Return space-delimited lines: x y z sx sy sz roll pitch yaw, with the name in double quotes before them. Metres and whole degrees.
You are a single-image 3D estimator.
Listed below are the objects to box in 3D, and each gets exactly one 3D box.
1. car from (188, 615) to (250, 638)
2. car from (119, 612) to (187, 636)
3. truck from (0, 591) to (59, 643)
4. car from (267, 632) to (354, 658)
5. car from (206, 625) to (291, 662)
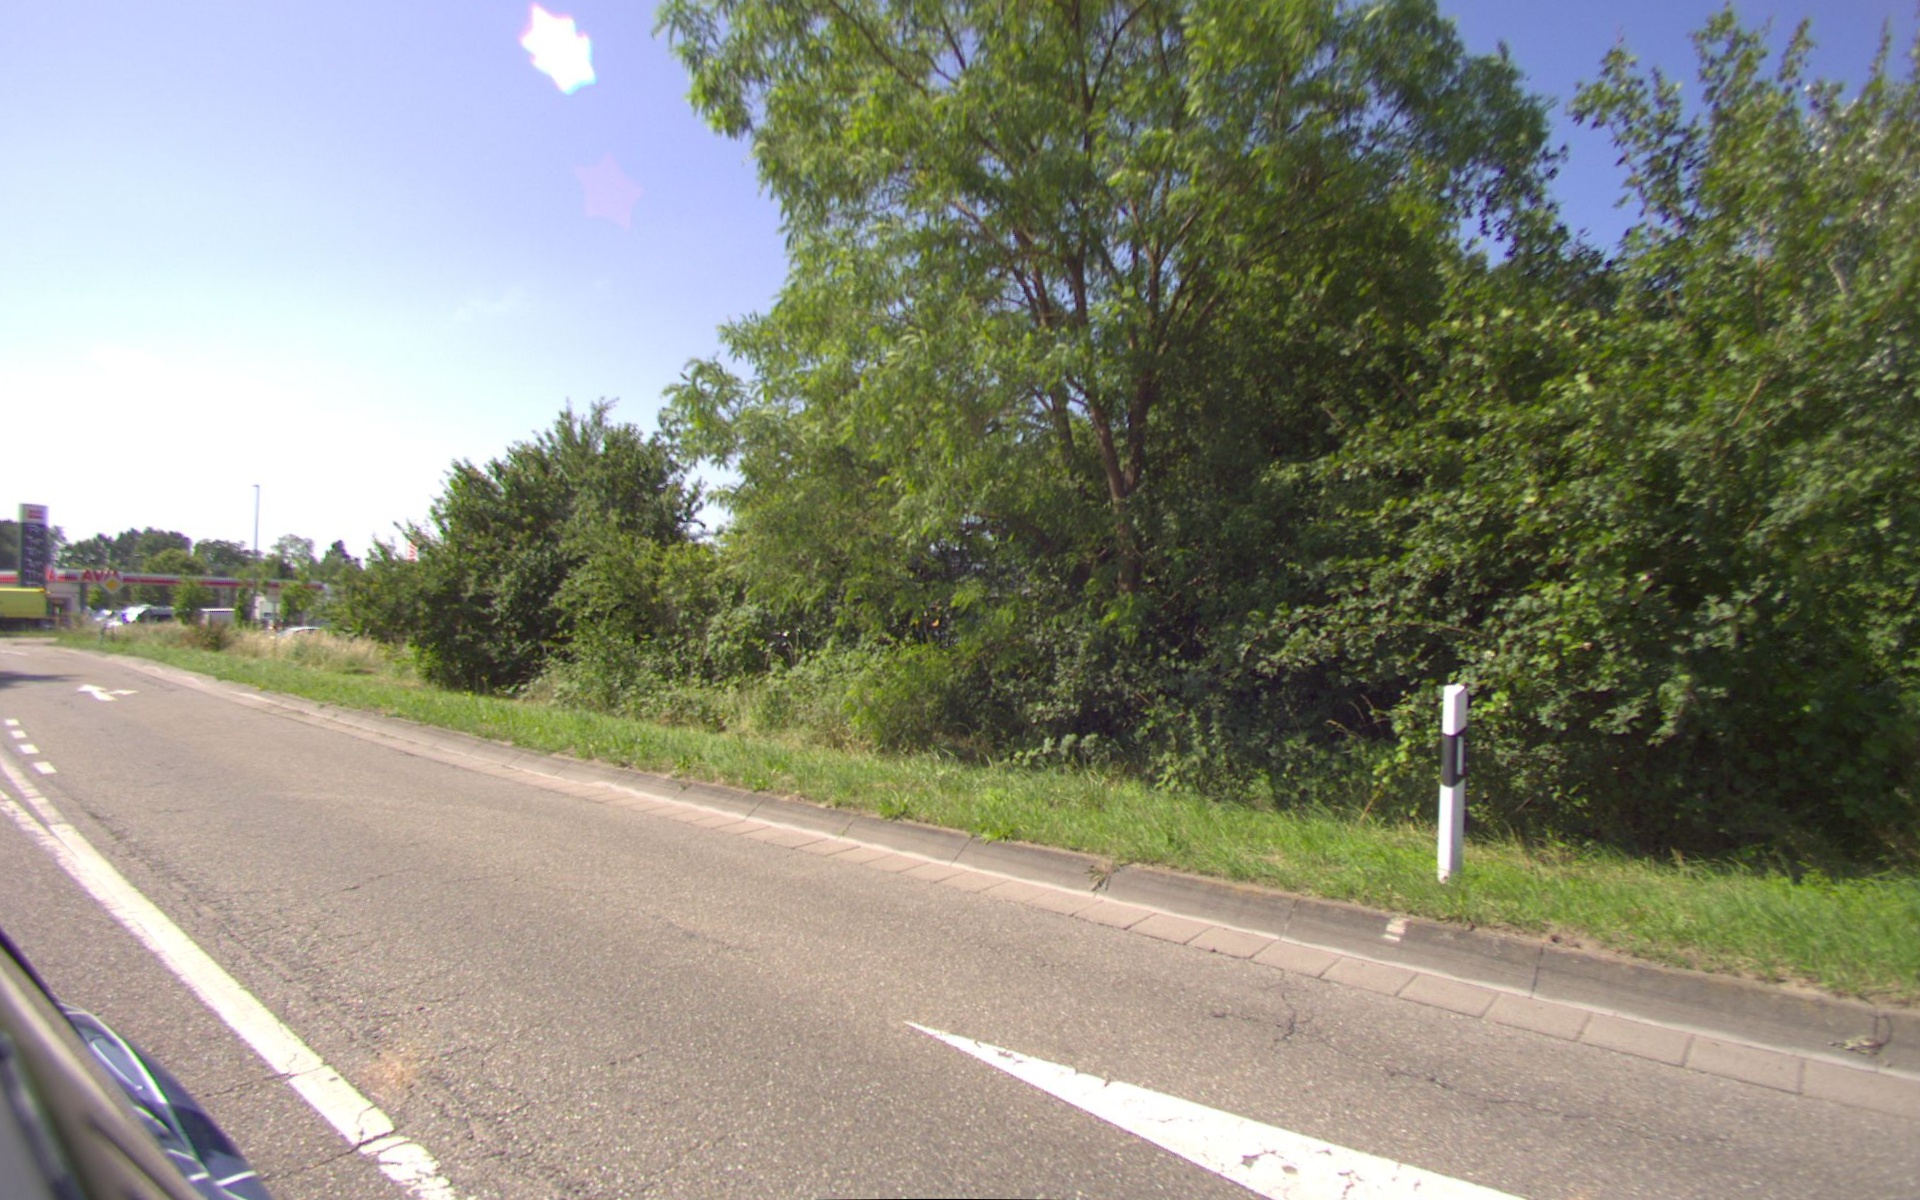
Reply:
"car" -65.142 2.369 89.060 1.985 1.962 3.973 0 -2 20
"car" -66.670 1.995 83.666 1.985 1.962 3.973 0 -2 20
"truck" -65.641 1.061 65.630 3.881 3.420 10.204 -1 -2 39
"car" -38.849 2.688 60.556 1.998 1.497 3.948 -1 -2 39
"car" -44.561 2.710 63.472 1.998 2.184 3.948 -1 -2 39
